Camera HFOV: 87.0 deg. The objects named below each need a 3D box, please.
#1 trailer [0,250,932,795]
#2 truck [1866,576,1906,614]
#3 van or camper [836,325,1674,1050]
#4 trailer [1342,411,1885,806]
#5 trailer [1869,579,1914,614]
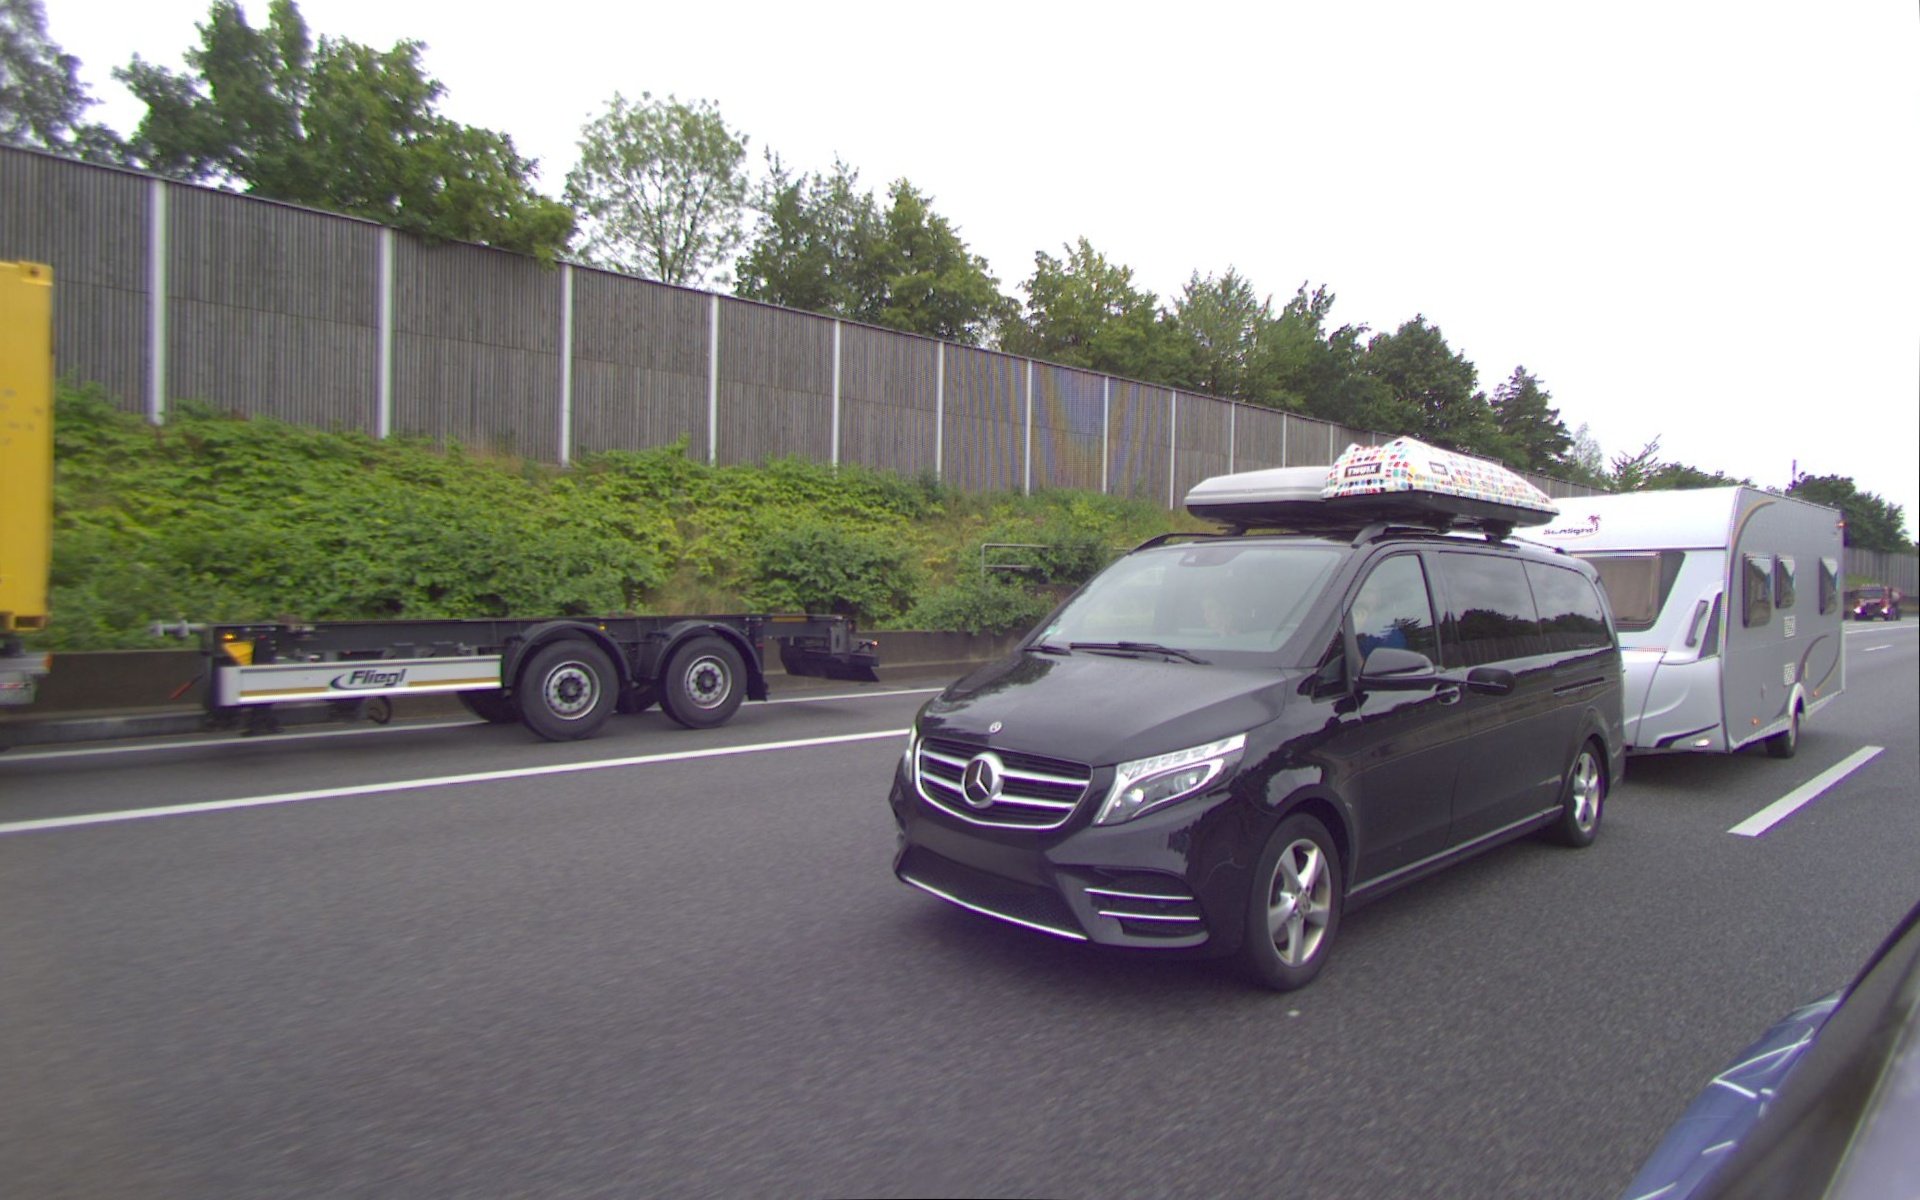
[{"bbox_3d":[-7.353,-0.569,8.940,16.400,4.003,2.654,-1,0,-42],"label":"trailer"},{"bbox_3d":[86.571,-0.493,94.585,3.932,3.508,2.418,0,1,-43],"label":"truck"},{"bbox_3d":[2.143,0.251,5.770,5.580,2.298,1.894,0,1,-41],"label":"van or camper"},{"bbox_3d":[7.051,0.025,10.341,7.380,2.675,2.726,0,1,-41],"label":"trailer"},{"bbox_3d":[90.691,-0.332,98.500,9.241,3.288,2.449,0,1,-43],"label":"trailer"}]
